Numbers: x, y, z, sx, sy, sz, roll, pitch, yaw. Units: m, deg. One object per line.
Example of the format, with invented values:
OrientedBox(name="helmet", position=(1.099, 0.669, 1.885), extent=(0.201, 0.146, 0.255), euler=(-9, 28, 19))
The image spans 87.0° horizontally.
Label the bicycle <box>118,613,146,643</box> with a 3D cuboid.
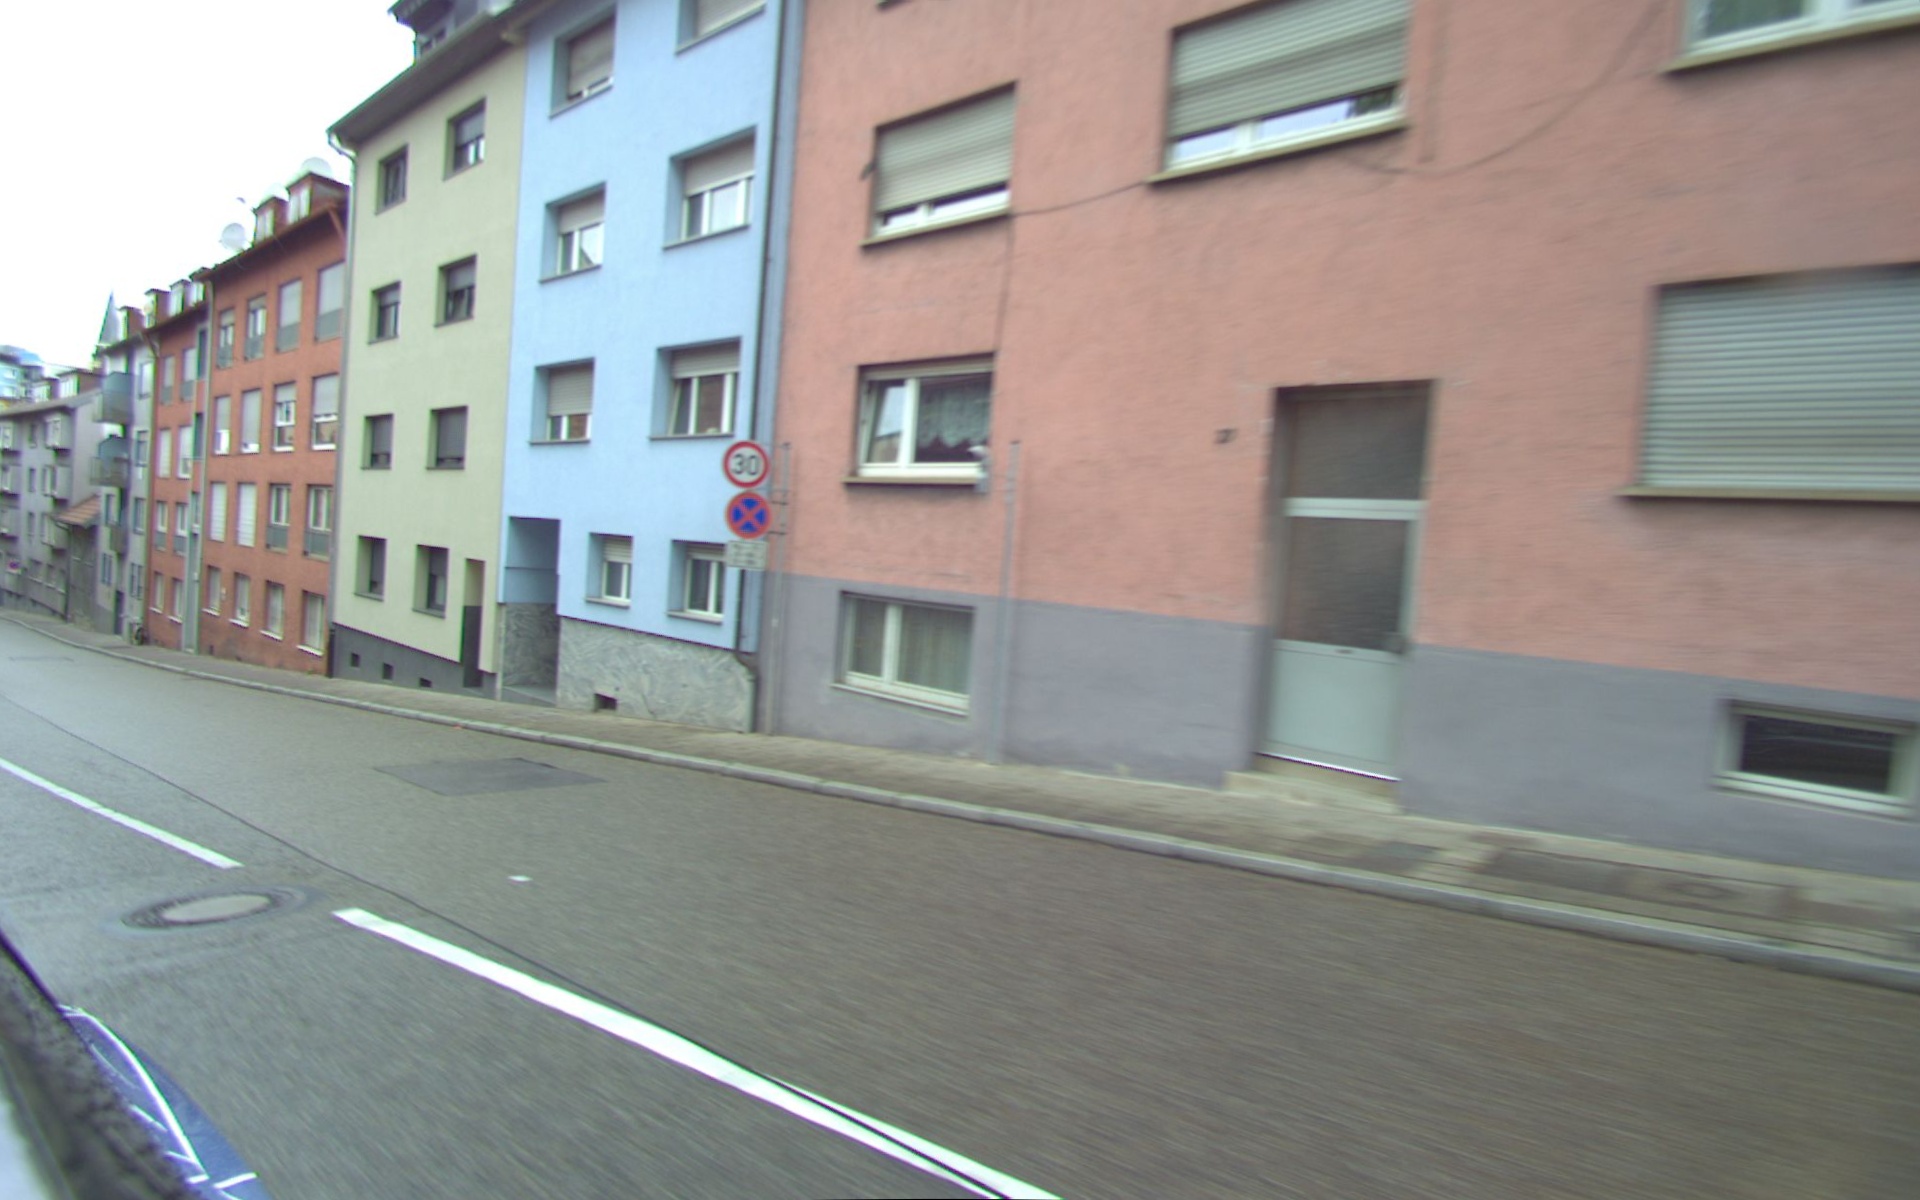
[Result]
OrientedBox(name="bicycle", position=(-32.626, 1.094, 39.858), extent=(2.039, 1.125, 0.565), euler=(1, 1, 43))
